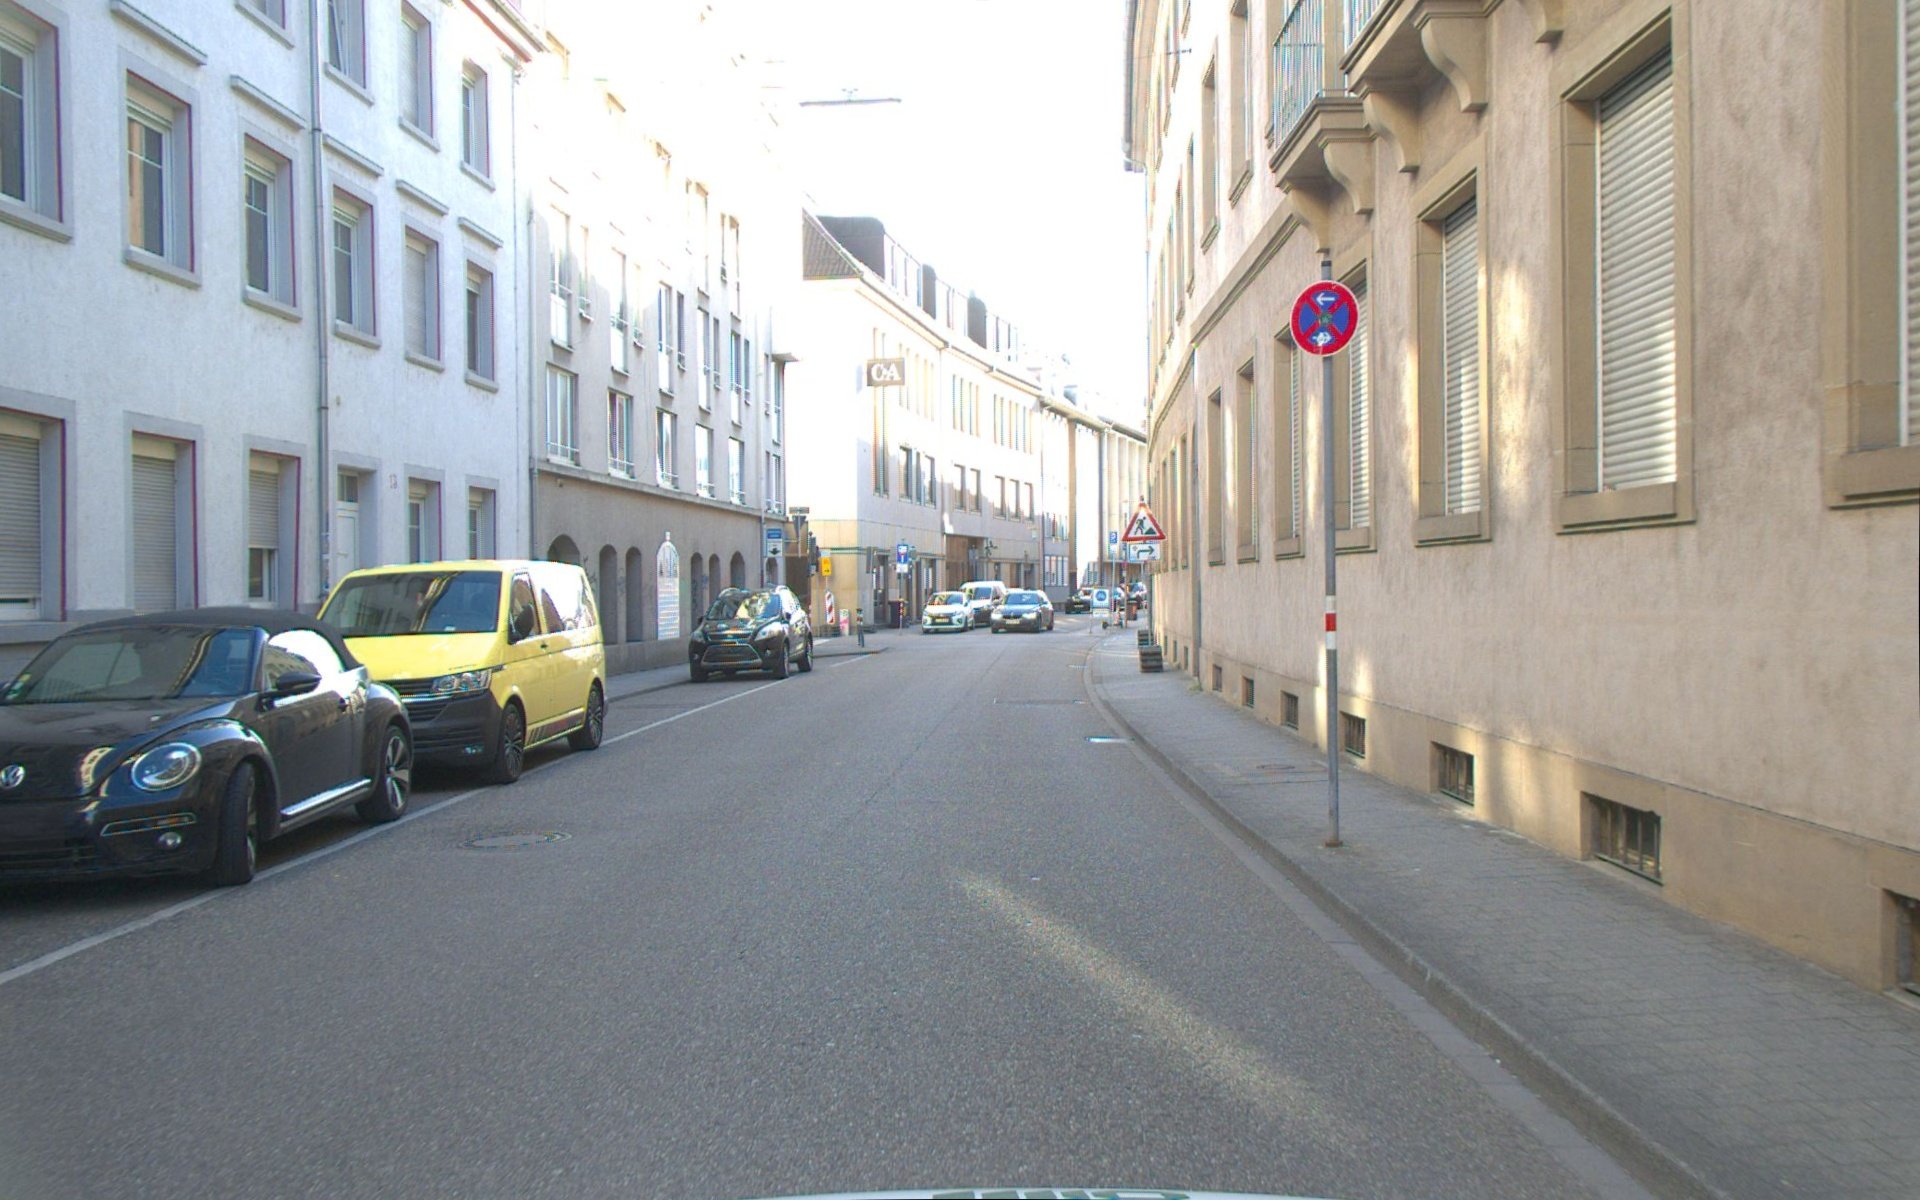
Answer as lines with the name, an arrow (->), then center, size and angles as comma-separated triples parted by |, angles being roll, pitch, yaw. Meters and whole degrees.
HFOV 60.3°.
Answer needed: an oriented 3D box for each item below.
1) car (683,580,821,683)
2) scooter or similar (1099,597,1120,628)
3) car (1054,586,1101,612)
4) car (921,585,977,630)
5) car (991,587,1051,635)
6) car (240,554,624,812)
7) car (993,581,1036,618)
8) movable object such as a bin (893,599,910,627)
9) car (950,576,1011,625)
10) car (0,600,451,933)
car -> -3.929, 0.541, 31.922 | 1.703, 1.740, 4.193 | -4, 0, 5
scooter or similar -> 5.700, 0.460, 63.119 | 0.754, 1.156, 0.269 | 1, 0, 9
car -> 6.720, -0.063, 94.446 | 1.841, 1.355, 4.103 | -1, 1, 16
car -> -0.382, 0.267, 62.433 | 1.635, 1.533, 3.797 | -3, 0, 6
car -> 2.151, 0.366, 59.106 | 1.681, 1.605, 4.187 | -1, 0, -4
car -> -4.623, 0.628, 15.372 | 1.841, 1.899, 4.864 | -4, 0, 1
car -> 2.463, -0.037, 74.257 | 1.244, 1.533, 3.405 | -3, 0, 12
movable object such as a bin -> -2.261, 0.499, 63.791 | 0.596, 1.079, 0.713 | 1, 0, 3
car -> 0.887, -0.019, 68.199 | 1.635, 1.850, 4.556 | -3, 0, 11
car -> -4.617, 0.831, 10.013 | 1.782, 1.511, 4.076 | -4, 0, -1
